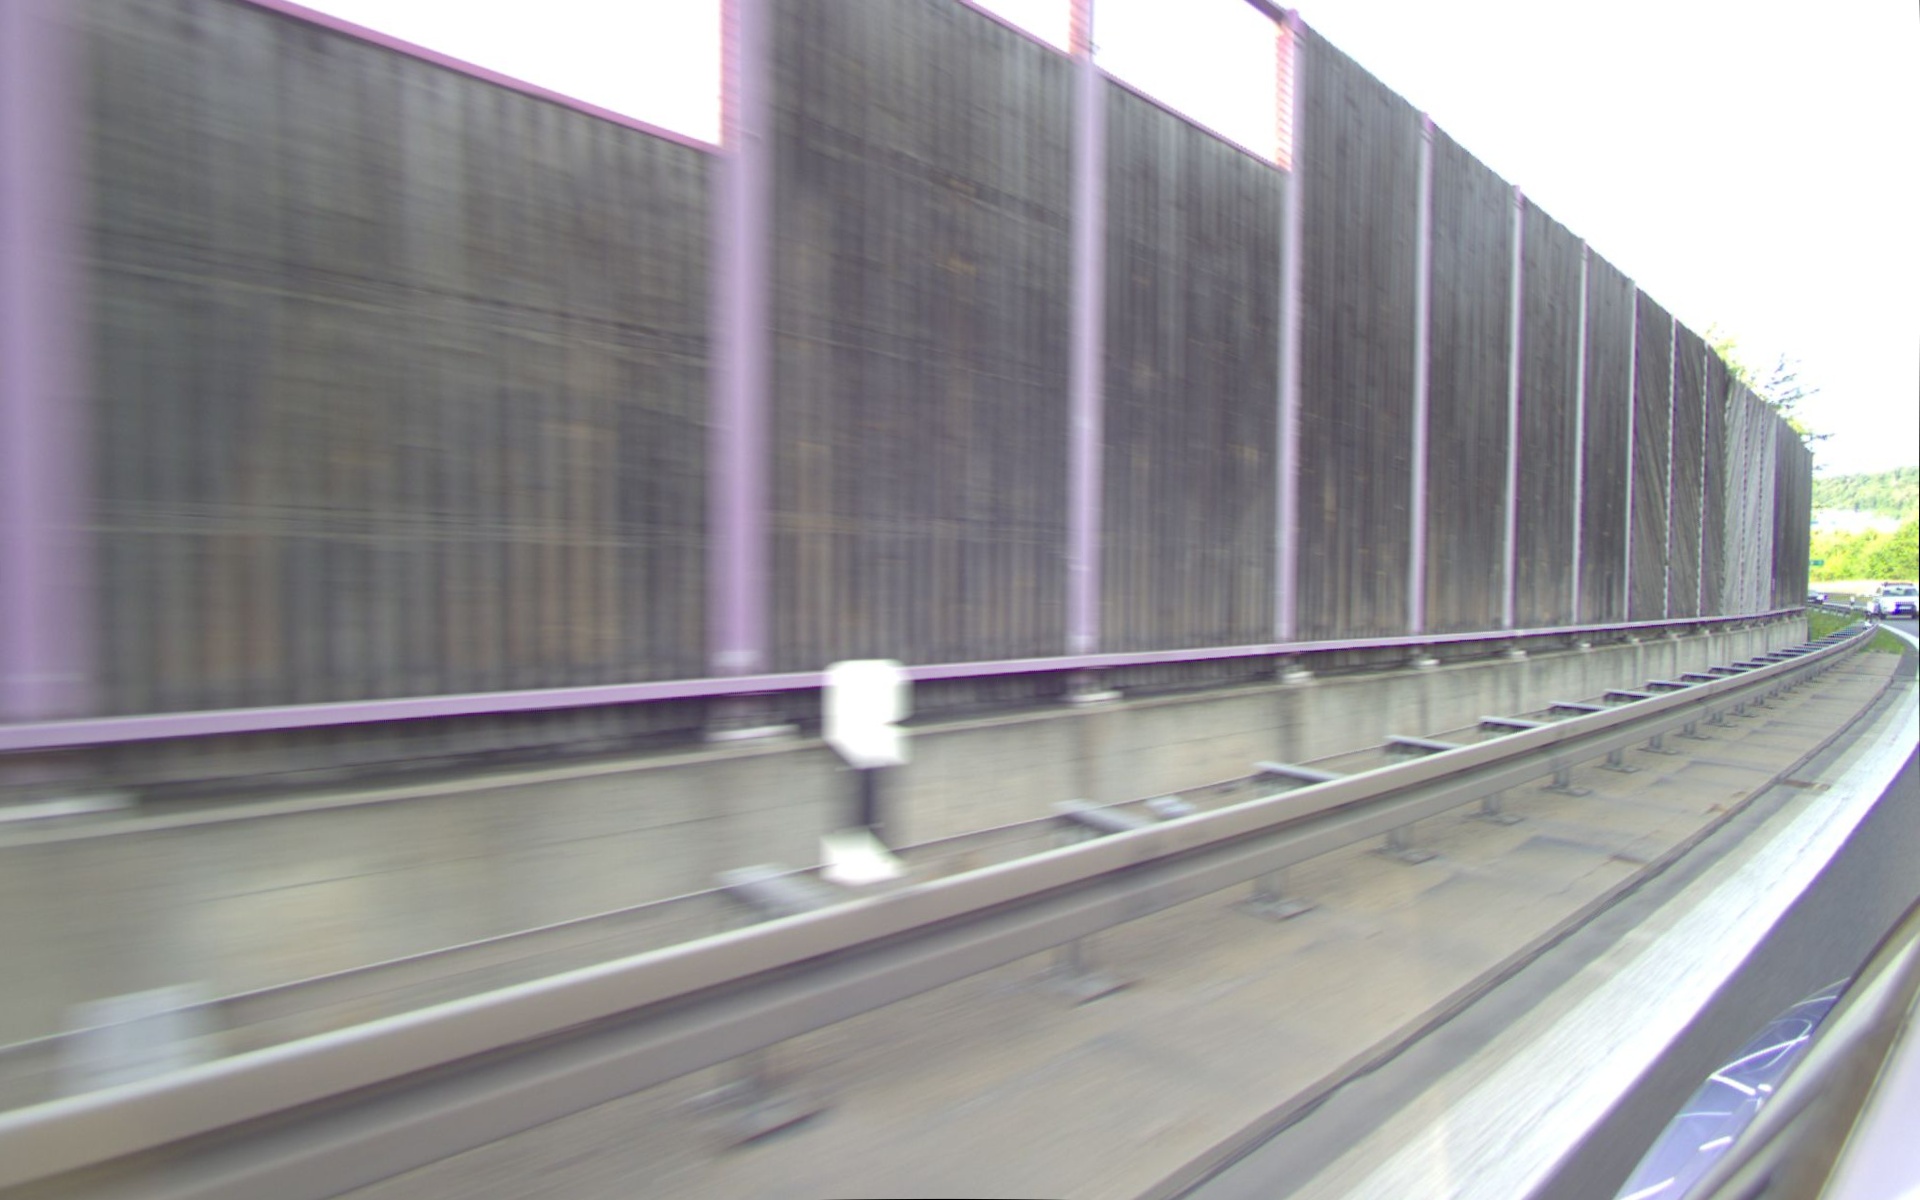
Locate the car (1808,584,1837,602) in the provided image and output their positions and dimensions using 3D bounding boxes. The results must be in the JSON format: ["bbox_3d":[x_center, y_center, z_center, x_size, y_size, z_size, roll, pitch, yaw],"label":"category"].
[{"bbox_3d":[74.902,-0.648,87.910,1.611,1.478,3.616,-1,1,36],"label":"car"}]

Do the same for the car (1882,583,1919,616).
[{"bbox_3d":[50.438,-0.029,53.687,1.895,1.686,3.946,-1,0,37],"label":"car"}]
